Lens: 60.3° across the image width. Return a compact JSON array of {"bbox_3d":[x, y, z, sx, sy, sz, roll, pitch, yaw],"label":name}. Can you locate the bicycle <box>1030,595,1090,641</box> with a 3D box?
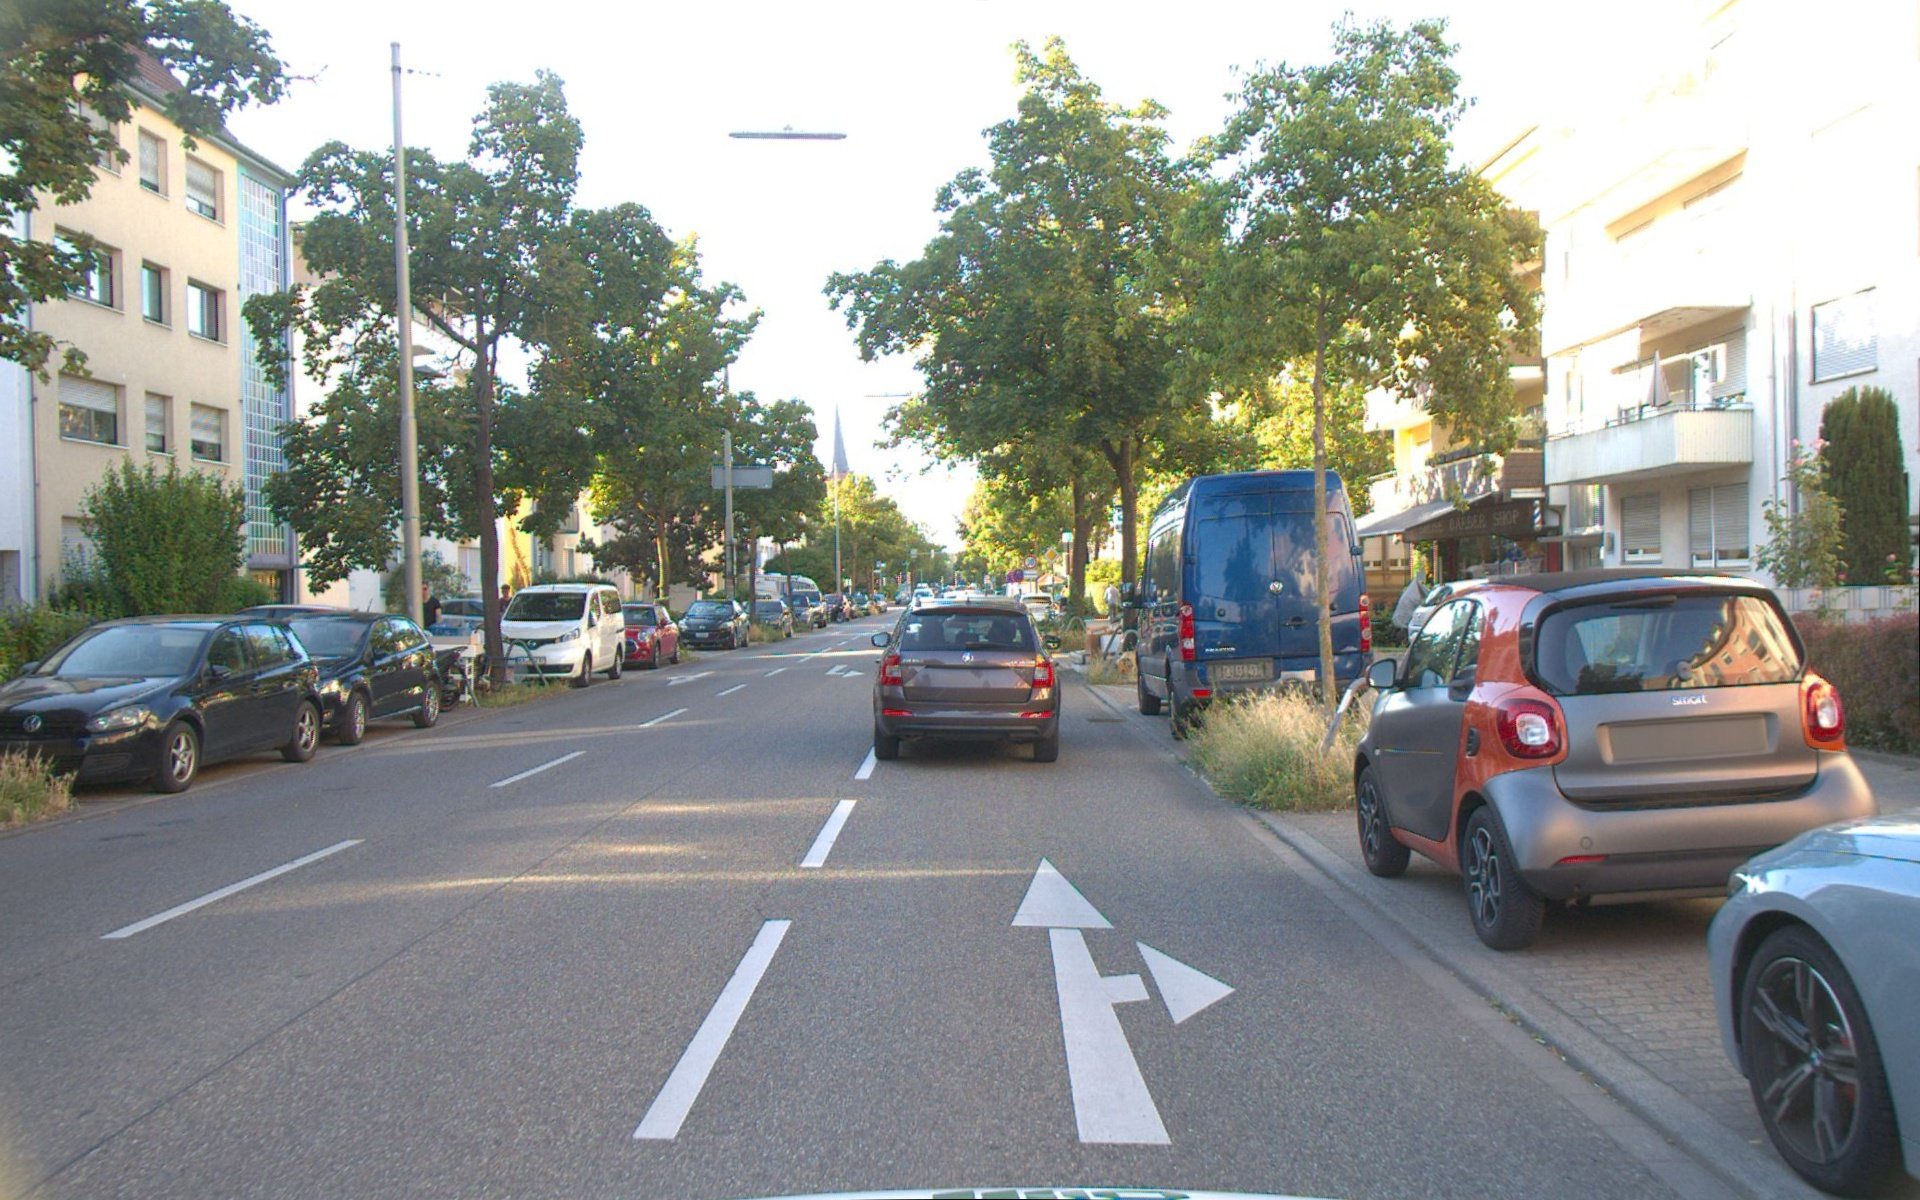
[{"bbox_3d":[2.963,0.527,49.034,1.635,1.247,0.636,-3,0,13],"label":"bicycle"}]

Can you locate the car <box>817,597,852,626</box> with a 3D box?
[{"bbox_3d":[-7.171,0.630,94.672,1.630,1.538,4.178,-1,1,0],"label":"car"}]

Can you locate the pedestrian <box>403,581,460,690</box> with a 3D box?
[{"bbox_3d":[-10.190,0.666,31.905,0.751,2.049,0.976,-1,1,-1],"label":"pedestrian"}]

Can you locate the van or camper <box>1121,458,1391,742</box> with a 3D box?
[{"bbox_3d":[3.180,0.003,19.138,2.025,2.722,5.989,-1,0,0],"label":"van or camper"}]

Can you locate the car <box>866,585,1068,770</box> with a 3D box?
[{"bbox_3d":[0.104,0.646,16.072,1.694,1.520,3.952,-1,1,1],"label":"car"}]

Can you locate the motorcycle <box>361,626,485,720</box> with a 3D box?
[{"bbox_3d":[-7.576,1.009,23.390,0.433,1.212,1.700,-1,1,37],"label":"motorcycle"}]

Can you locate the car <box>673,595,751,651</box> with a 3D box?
[{"bbox_3d":[-7.438,0.662,50.002,1.682,1.523,4.248,-1,1,0],"label":"car"}]

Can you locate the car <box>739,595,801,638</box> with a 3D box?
[{"bbox_3d":[-7.125,0.595,62.301,1.718,1.445,4.426,-1,1,1],"label":"car"}]

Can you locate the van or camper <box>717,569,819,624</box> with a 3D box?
[{"bbox_3d":[-14.604,-0.289,125.890,7.486,3.942,1.999,-1,1,-2],"label":"van or camper"}]

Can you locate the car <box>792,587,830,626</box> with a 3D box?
[{"bbox_3d":[-7.123,0.290,79.372,1.476,1.788,3.693,-1,1,0],"label":"car"}]

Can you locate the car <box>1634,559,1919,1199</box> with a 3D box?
[{"bbox_3d":[3.112,0.663,2.679,1.882,1.512,4.743,-1,1,-3],"label":"car"}]

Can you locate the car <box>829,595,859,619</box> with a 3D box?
[{"bbox_3d":[-7.329,0.418,104.904,1.630,1.457,3.275,-1,1,0],"label":"car"}]

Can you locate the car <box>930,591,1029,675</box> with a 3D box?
[{"bbox_3d":[0.337,0.607,33.255,1.695,1.520,3.948,-1,1,-4],"label":"car"}]

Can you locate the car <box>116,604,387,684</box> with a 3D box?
[{"bbox_3d":[-14.021,0.851,33.022,4.629,1.386,1.994,-1,1,-13],"label":"car"}]

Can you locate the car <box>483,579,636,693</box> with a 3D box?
[{"bbox_3d":[-7.435,0.598,31.116,1.733,1.952,4.460,-1,1,0],"label":"car"}]

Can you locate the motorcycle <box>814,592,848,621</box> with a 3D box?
[{"bbox_3d":[-6.992,0.358,89.656,0.760,1.538,1.999,-2,1,-42],"label":"motorcycle"}]

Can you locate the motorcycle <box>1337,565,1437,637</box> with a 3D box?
[{"bbox_3d":[9.979,0.020,38.712,2.148,1.649,0.732,-1,1,6],"label":"motorcycle"}]

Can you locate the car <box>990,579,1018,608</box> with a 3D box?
[{"bbox_3d":[2.982,-0.455,111.989,1.694,1.846,3.950,-1,1,-1],"label":"car"}]

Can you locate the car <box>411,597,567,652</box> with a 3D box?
[{"bbox_3d":[-13.349,0.677,47.063,3.908,1.505,1.999,0,1,-4],"label":"car"}]

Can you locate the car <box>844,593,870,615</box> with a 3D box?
[{"bbox_3d":[-7.222,0.267,116.441,1.630,1.457,3.275,-1,1,0],"label":"car"}]

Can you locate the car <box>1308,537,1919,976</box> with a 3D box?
[{"bbox_3d":[3.070,0.606,8.316,1.737,1.671,3.756,-1,0,-2],"label":"car"}]

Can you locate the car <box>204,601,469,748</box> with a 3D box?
[{"bbox_3d":[-7.505,0.825,20.336,1.714,1.529,3.978,-1,1,0],"label":"car"}]

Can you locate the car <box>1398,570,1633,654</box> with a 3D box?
[{"bbox_3d":[10.693,0.209,32.012,3.908,1.487,1.823,-1,1,-3],"label":"car"}]

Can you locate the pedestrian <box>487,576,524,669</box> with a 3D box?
[{"bbox_3d":[-10.145,0.486,36.959,0.614,2.049,0.616,-1,1,-1],"label":"pedestrian"}]

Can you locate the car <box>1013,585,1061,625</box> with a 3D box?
[{"bbox_3d":[2.979,0.183,64.672,1.783,1.437,4.112,-1,1,2],"label":"car"}]

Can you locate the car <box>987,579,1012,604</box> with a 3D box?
[{"bbox_3d":[2.967,-0.644,124.482,1.694,1.846,3.950,-1,1,-1],"label":"car"}]

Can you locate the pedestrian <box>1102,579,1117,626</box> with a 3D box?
[{"bbox_3d":[5.897,0.082,65.188,0.524,1.825,0.688,-1,1,2],"label":"pedestrian"}]

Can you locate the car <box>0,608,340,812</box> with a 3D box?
[{"bbox_3d":[-7.438,0.899,15.391,1.714,1.529,4.197,-1,1,0],"label":"car"}]

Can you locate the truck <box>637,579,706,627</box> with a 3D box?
[{"bbox_3d":[-13.258,0.122,76.043,2.854,2.130,1.546,-1,1,-1],"label":"truck"}]

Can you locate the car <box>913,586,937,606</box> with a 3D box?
[{"bbox_3d":[-3.319,-0.358,156.028,1.837,1.788,4.181,-1,1,4],"label":"car"}]

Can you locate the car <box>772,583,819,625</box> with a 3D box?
[{"bbox_3d":[-7.405,0.167,74.704,1.714,1.771,3.591,-1,1,0],"label":"car"}]

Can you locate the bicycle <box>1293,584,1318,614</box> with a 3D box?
[{"bbox_3d":[11.384,-0.029,54.452,0.335,0.967,1.580,2,0,-5],"label":"bicycle"}]

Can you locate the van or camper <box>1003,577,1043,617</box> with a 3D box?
[{"bbox_3d":[3.372,-0.165,88.693,1.953,2.049,4.000,-1,1,0],"label":"van or camper"}]

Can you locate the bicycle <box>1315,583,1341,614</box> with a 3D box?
[{"bbox_3d":[11.979,-0.052,53.858,0.335,0.967,1.580,-3,0,-5],"label":"bicycle"}]

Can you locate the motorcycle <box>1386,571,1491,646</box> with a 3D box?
[{"bbox_3d":[10.919,0.190,37.796,2.148,1.649,0.890,-1,1,6],"label":"motorcycle"}]

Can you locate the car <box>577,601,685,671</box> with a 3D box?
[{"bbox_3d":[-7.476,0.786,37.914,1.682,1.445,3.787,-1,1,0],"label":"car"}]
